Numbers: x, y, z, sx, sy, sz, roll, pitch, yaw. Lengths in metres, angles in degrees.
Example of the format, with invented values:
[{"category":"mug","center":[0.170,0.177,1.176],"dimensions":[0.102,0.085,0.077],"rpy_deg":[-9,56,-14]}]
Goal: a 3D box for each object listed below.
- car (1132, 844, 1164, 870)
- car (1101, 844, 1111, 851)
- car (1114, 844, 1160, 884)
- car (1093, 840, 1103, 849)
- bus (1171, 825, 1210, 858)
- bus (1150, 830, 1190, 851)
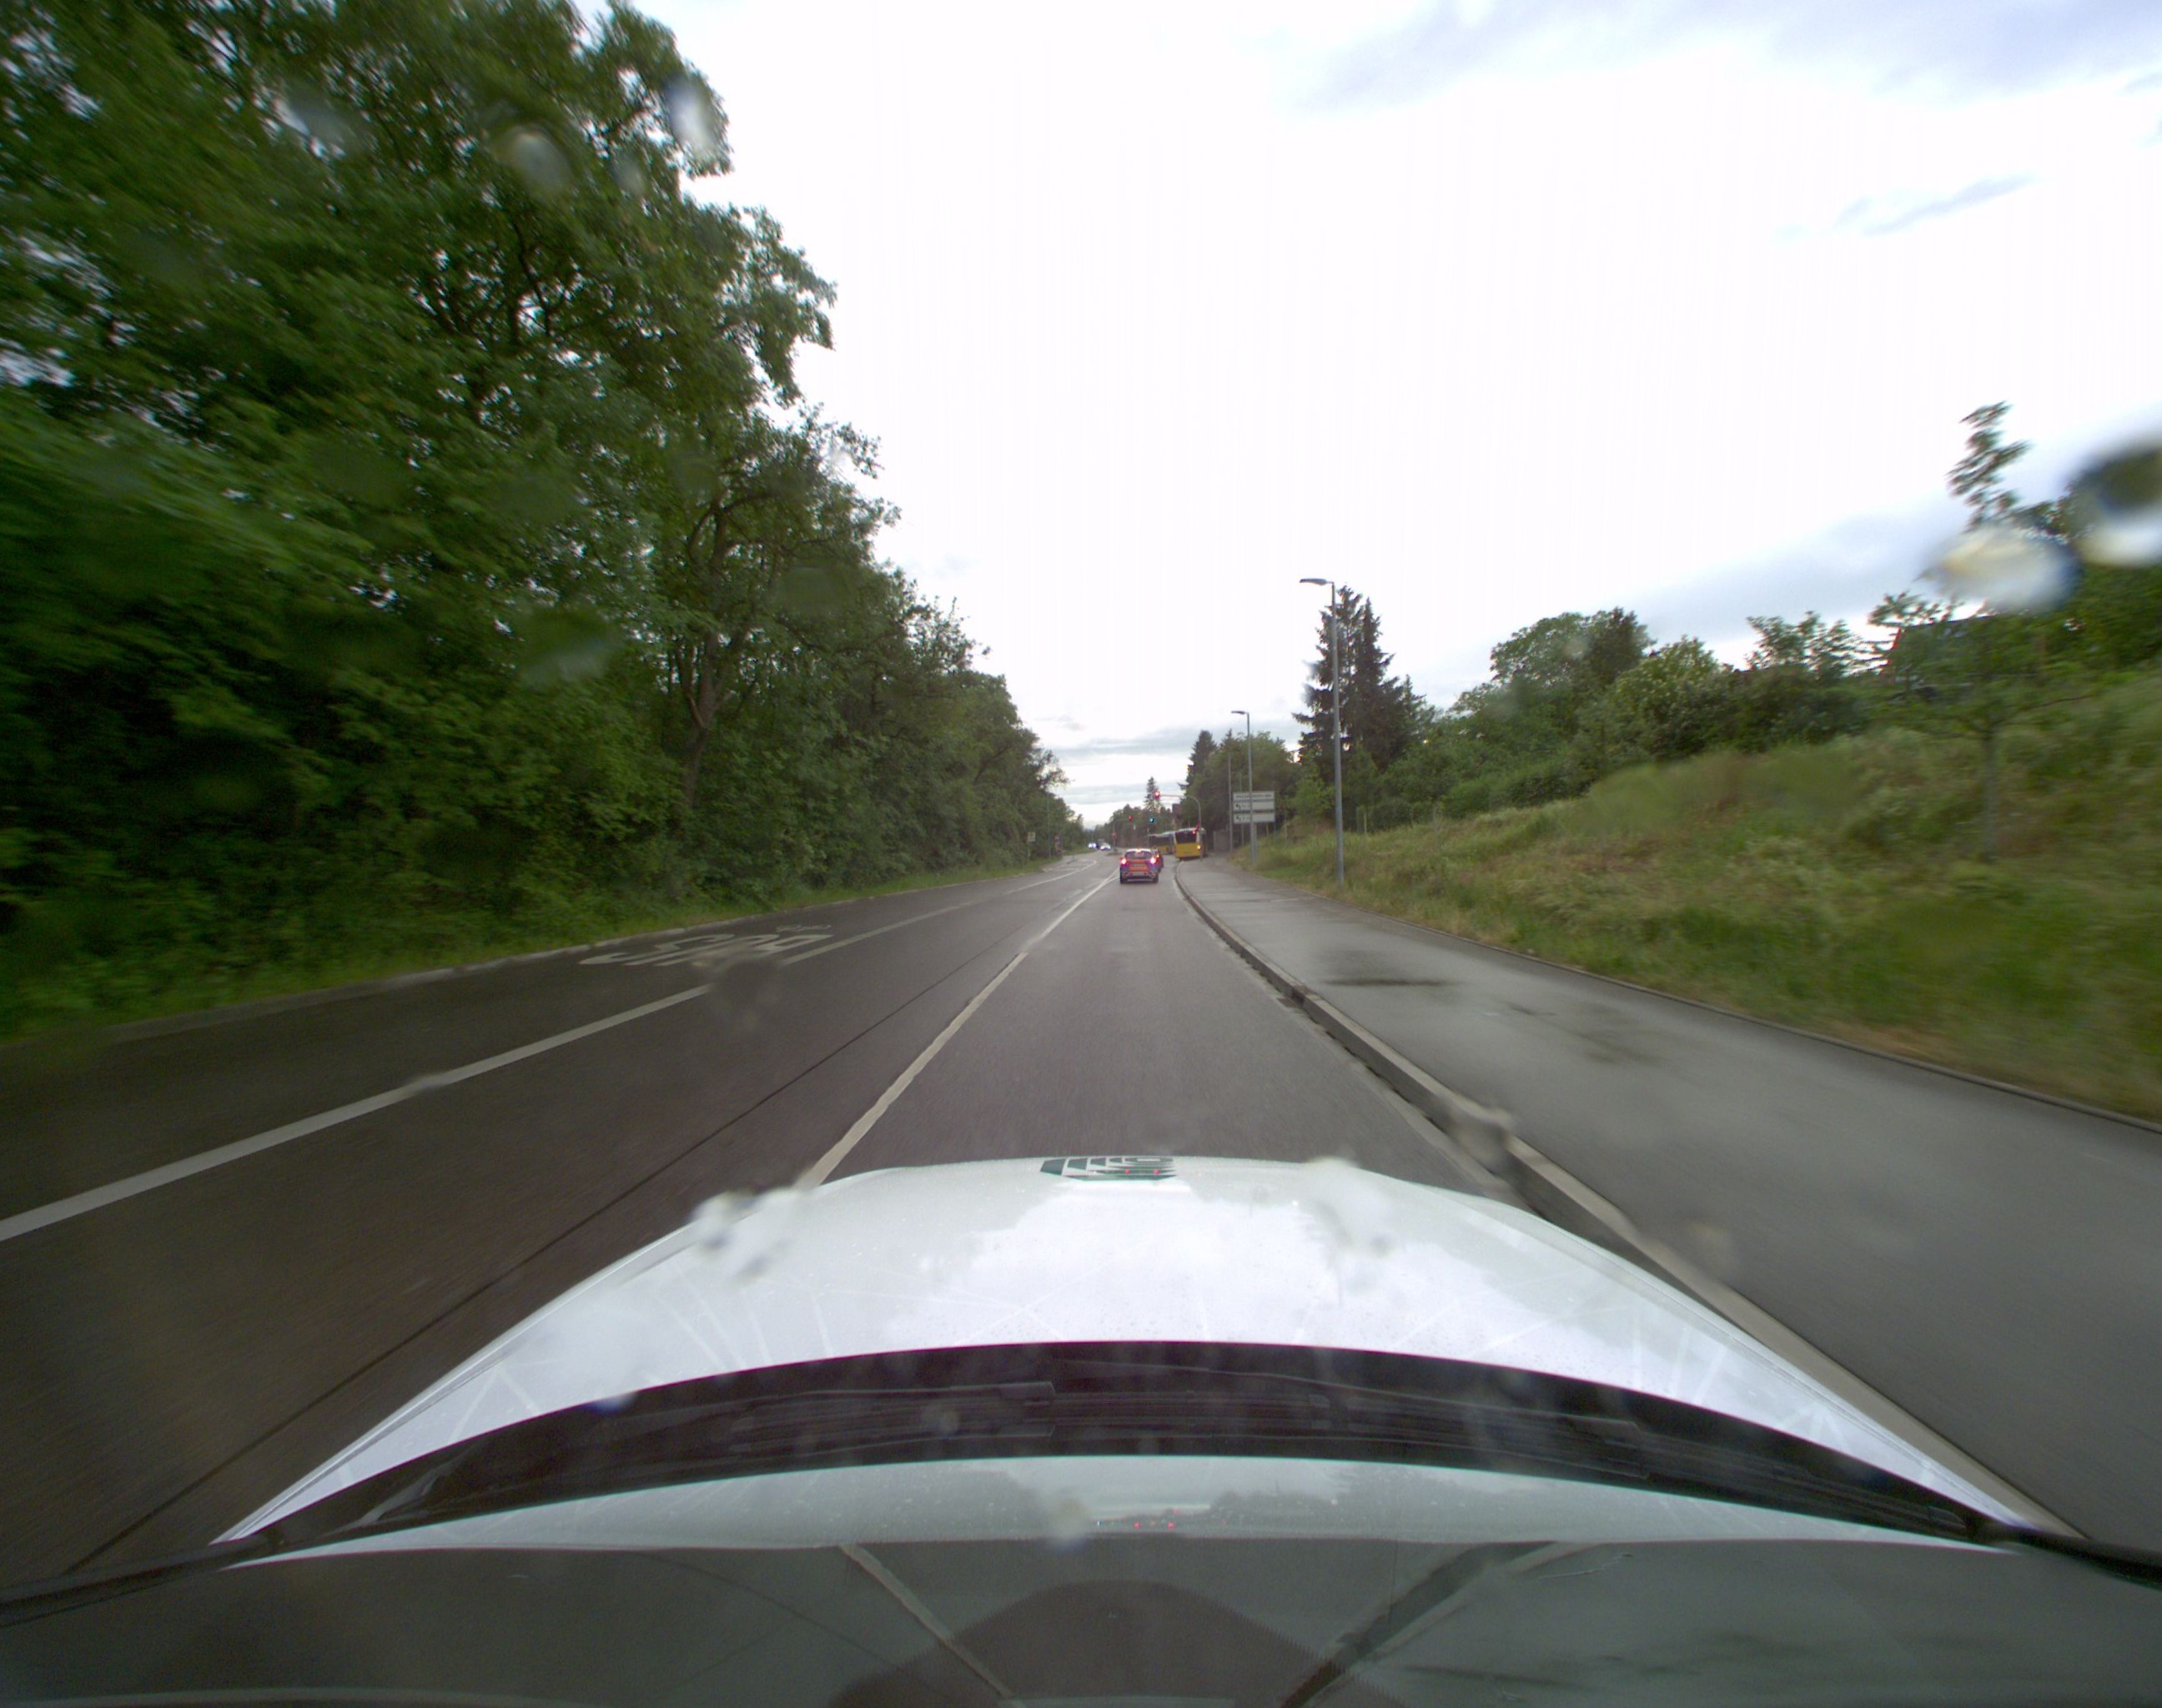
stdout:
[{"category":"car","center":[4.334,0.172,53.141],"dimensions":[1.919,1.486,3.803],"rpy_deg":[-2,1,3]},{"category":"car","center":[5.635,-1.491,183.309],"dimensions":[1.988,1.420,3.998],"rpy_deg":[-1,0,-1]},{"category":"car","center":[2.612,0.425,38.216],"dimensions":[1.985,1.689,4.004],"rpy_deg":[-2,1,3]},{"category":"car","center":[4.252,-2.414,207.660],"dimensions":[2.263,2.335,5.585],"rpy_deg":[-1,0,-1]},{"category":"bus","center":[11.193,-1.197,82.500],"dimensions":[2.796,3.142,9.217],"rpy_deg":[-1,0,15]},{"category":"bus","center":[12.602,-1.837,116.282],"dimensions":[2.817,2.806,10.601],"rpy_deg":[0,0,-10]}]
